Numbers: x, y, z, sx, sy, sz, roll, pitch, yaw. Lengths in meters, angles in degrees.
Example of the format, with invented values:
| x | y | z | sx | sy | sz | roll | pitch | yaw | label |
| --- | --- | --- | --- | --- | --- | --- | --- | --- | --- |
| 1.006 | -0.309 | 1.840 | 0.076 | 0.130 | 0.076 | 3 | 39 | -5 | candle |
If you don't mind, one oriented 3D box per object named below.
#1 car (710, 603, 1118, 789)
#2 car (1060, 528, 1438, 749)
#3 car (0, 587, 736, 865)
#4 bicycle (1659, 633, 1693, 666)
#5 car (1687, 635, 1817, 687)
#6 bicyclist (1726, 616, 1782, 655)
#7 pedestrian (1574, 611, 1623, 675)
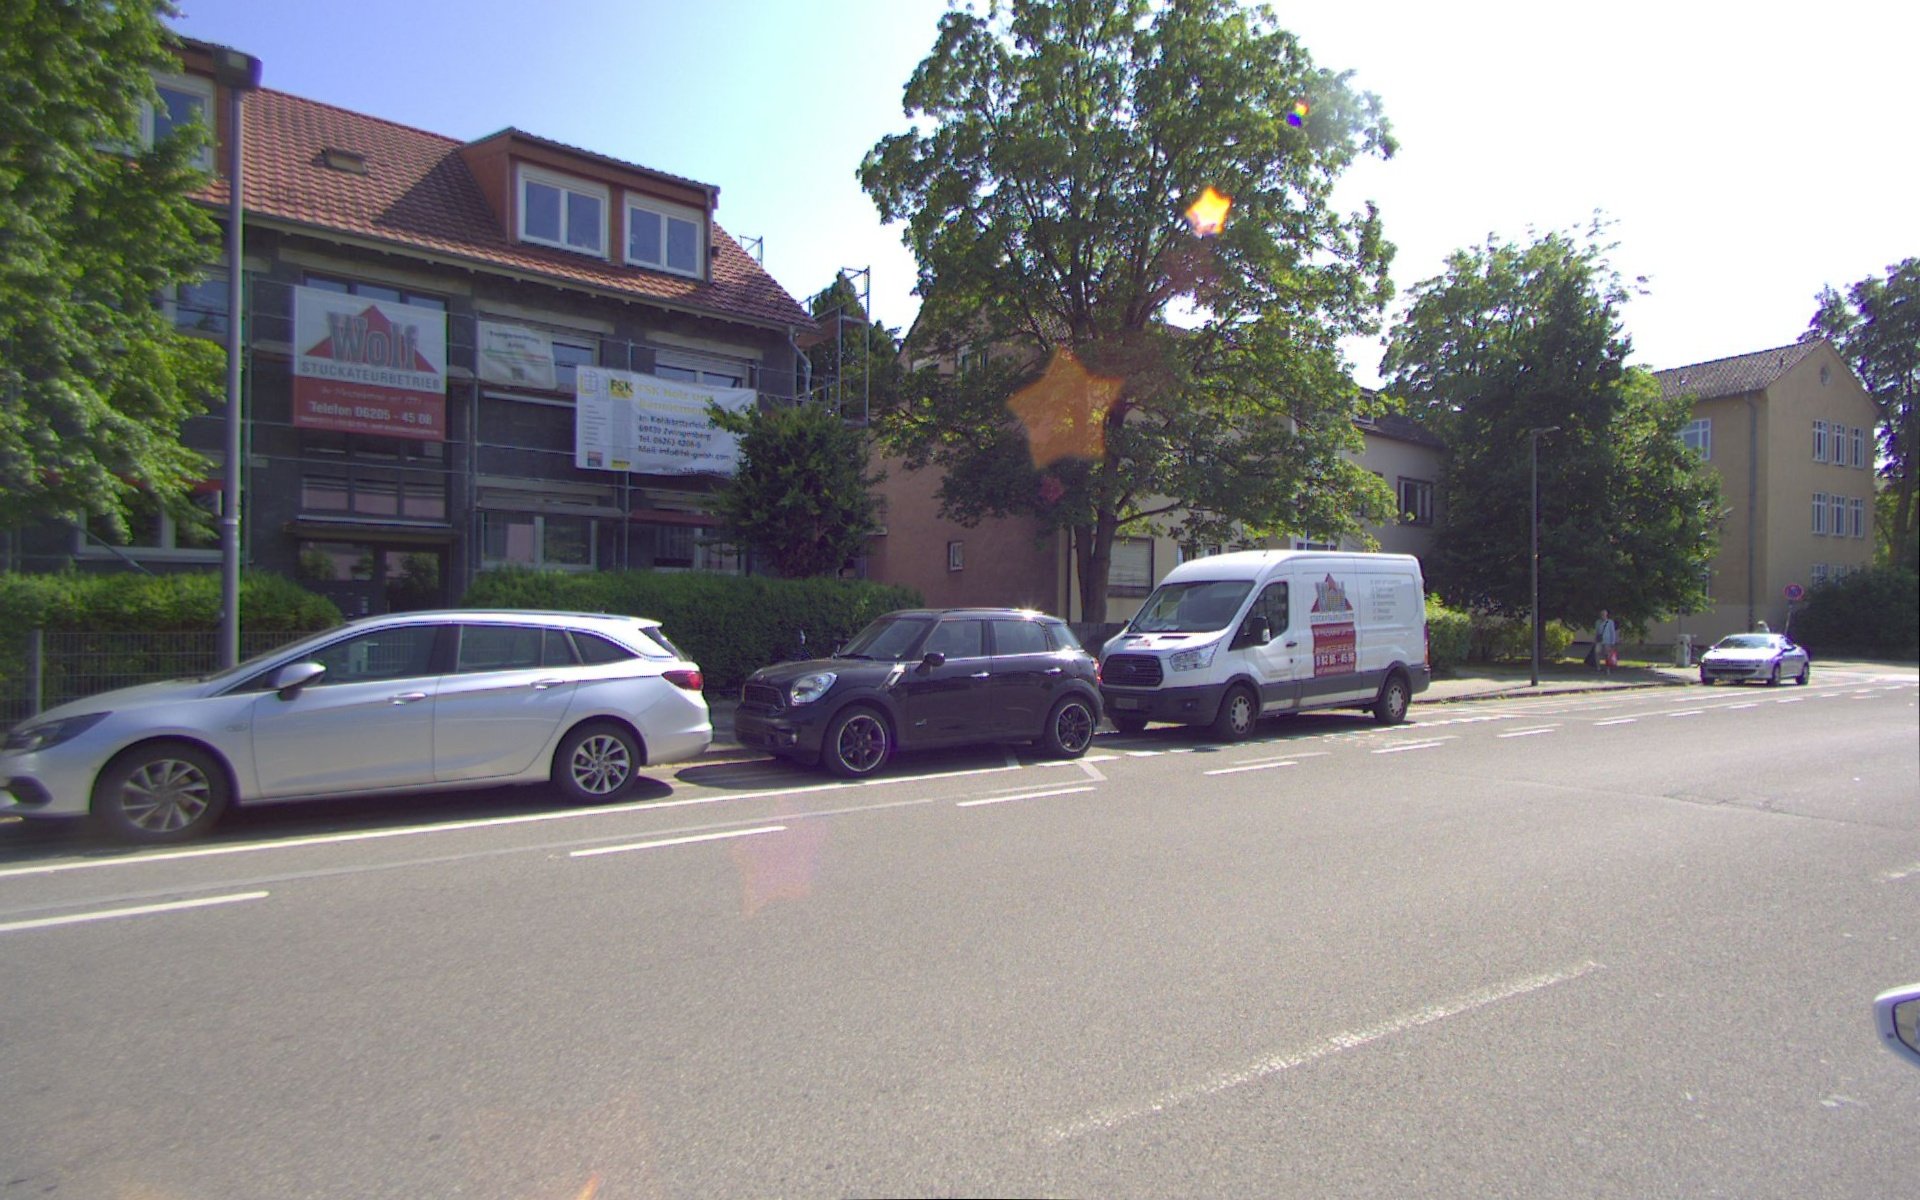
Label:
| x | y | z | sx | sy | sz | roll | pitch | yaw | label |
| --- | --- | --- | --- | --- | --- | --- | --- | --- | --- |
| -0.393 | 0.858 | 10.423 | 3.959 | 1.579 | 1.709 | 1 | -2 | -35 | car |
| 4.254 | 0.495 | 14.145 | 5.900 | 2.529 | 2.073 | 1 | -2 | -38 | car |
| -4.212 | 0.758 | 7.633 | 4.625 | 1.579 | 1.709 | 1 | -2 | -35 | car |
| 25.273 | 1.724 | 35.465 | 0.370 | 1.095 | 1.717 | 0 | 0 | 14 | bicycle |
| 21.552 | 1.605 | 27.305 | 3.959 | 1.283 | 1.709 | 1 | -2 | -35 | car |
| 29.623 | 1.311 | 37.485 | 0.944 | 1.422 | 1.351 | 0 | -1 | -17 | bicyclist |
| 18.498 | 1.240 | 29.097 | 0.717 | 1.803 | 0.969 | 1 | -1 | -30 | pedestrian |
